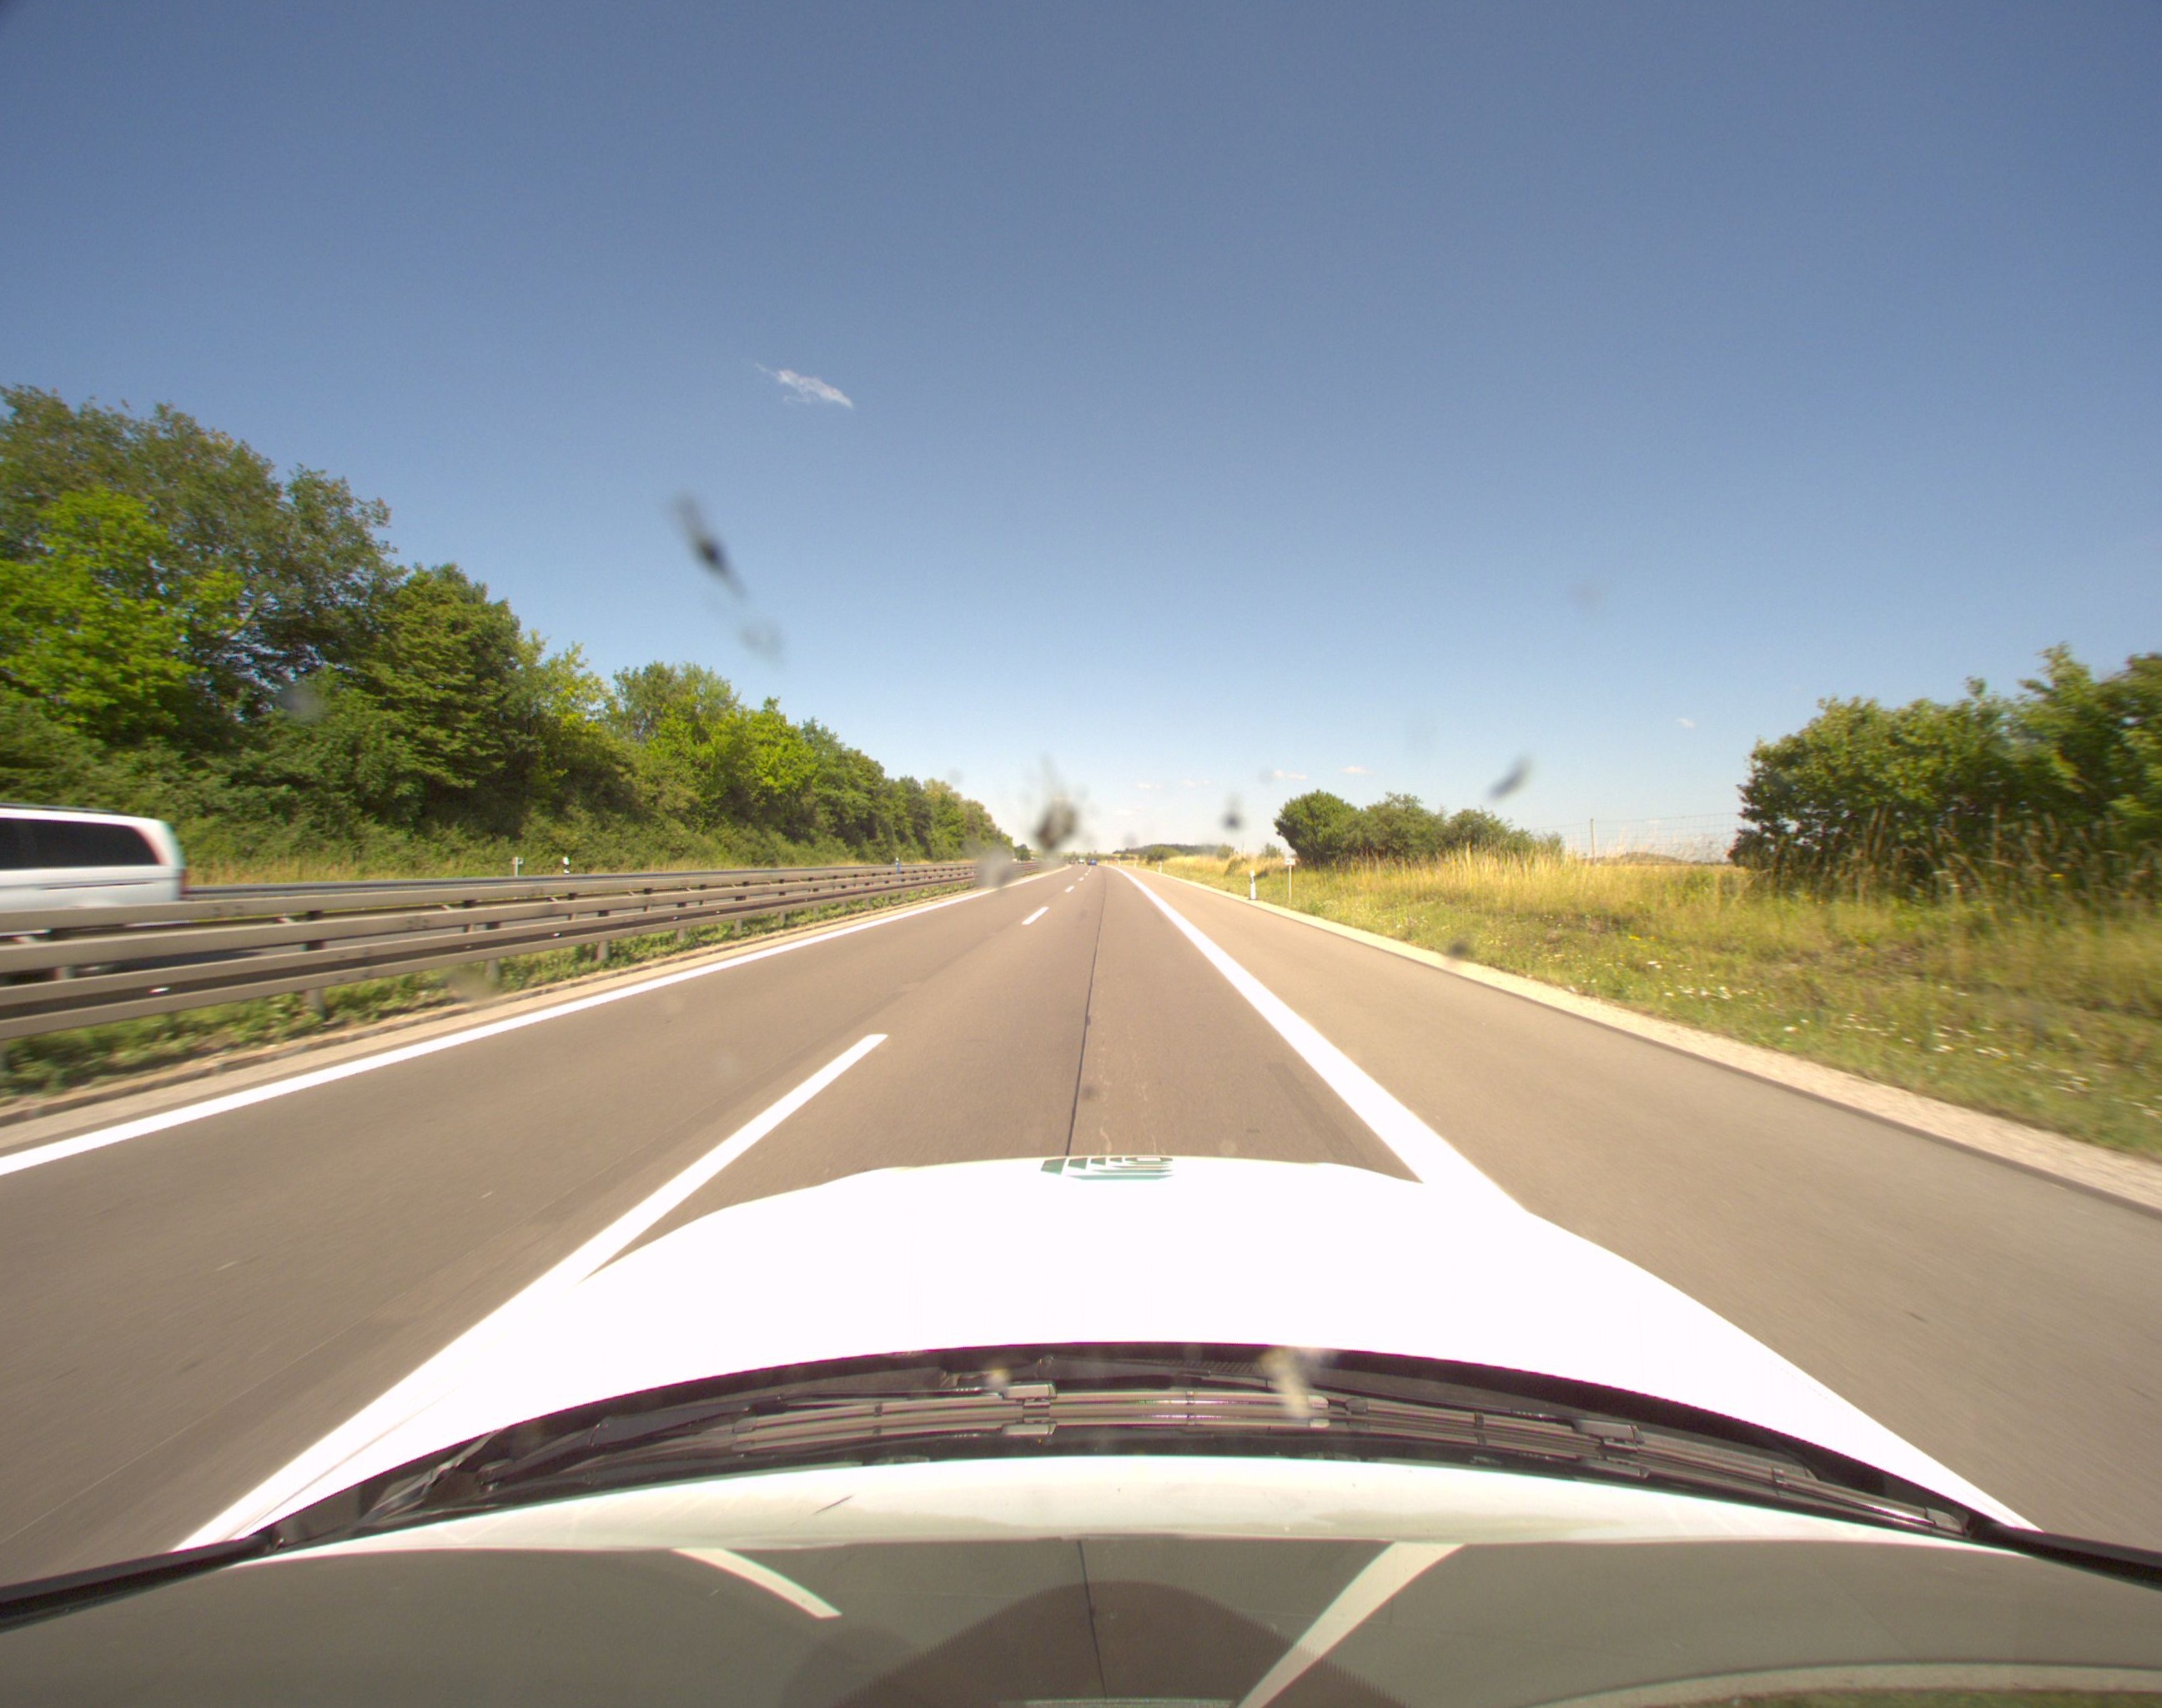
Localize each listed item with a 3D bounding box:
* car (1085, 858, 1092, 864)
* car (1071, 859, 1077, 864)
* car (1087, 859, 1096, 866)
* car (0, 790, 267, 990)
[{"bbox_3d":[2.032,1.943,219.103,1.822,1.453,3.594,0,-1,3],"label":"car"},{"bbox_3d":[-2.140,2.241,247.635,1.822,1.453,3.594,0,-1,3],"label":"car"},{"bbox_3d":[2.271,1.882,172.795,1.669,1.453,3.593,0,-1,2],"label":"car"},{"bbox_3d":[-11.755,0.349,7.827,1.986,1.990,5.694,0,0,2],"label":"car"}]
